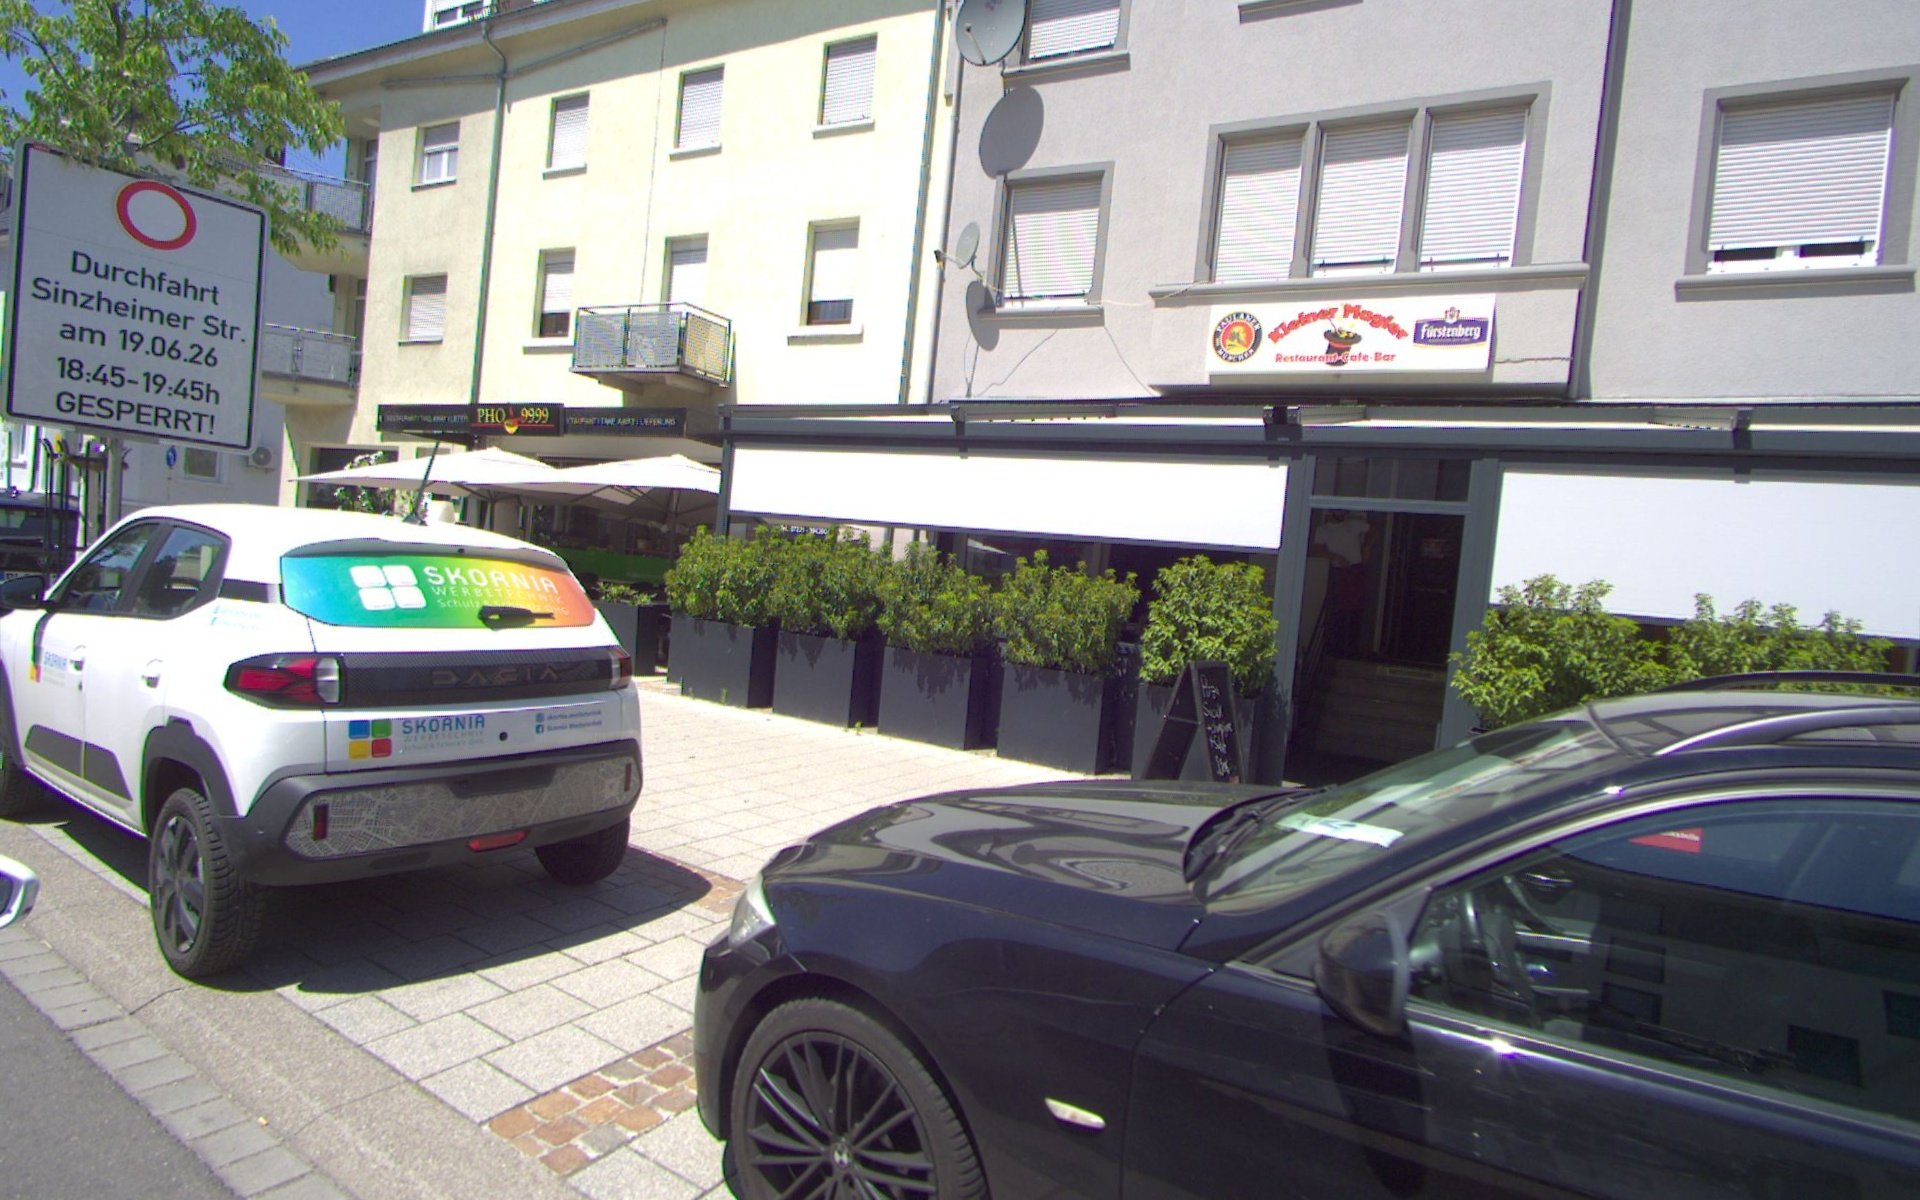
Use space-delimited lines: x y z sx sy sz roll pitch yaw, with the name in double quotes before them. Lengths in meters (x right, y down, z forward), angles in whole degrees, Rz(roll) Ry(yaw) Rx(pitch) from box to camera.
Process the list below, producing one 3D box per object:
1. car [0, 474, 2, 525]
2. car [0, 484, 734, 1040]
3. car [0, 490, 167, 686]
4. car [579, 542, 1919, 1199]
"car" -17.858 -1.565 17.257 3.809 1.511 1.866 8 3 43
"car" -3.102 0.329 4.639 3.991 1.506 1.736 6 3 35
"car" -8.775 -0.277 8.665 4.535 1.424 1.723 6 3 34
"car" 1.388 0.797 1.943 4.027 1.502 1.833 5 2 31
